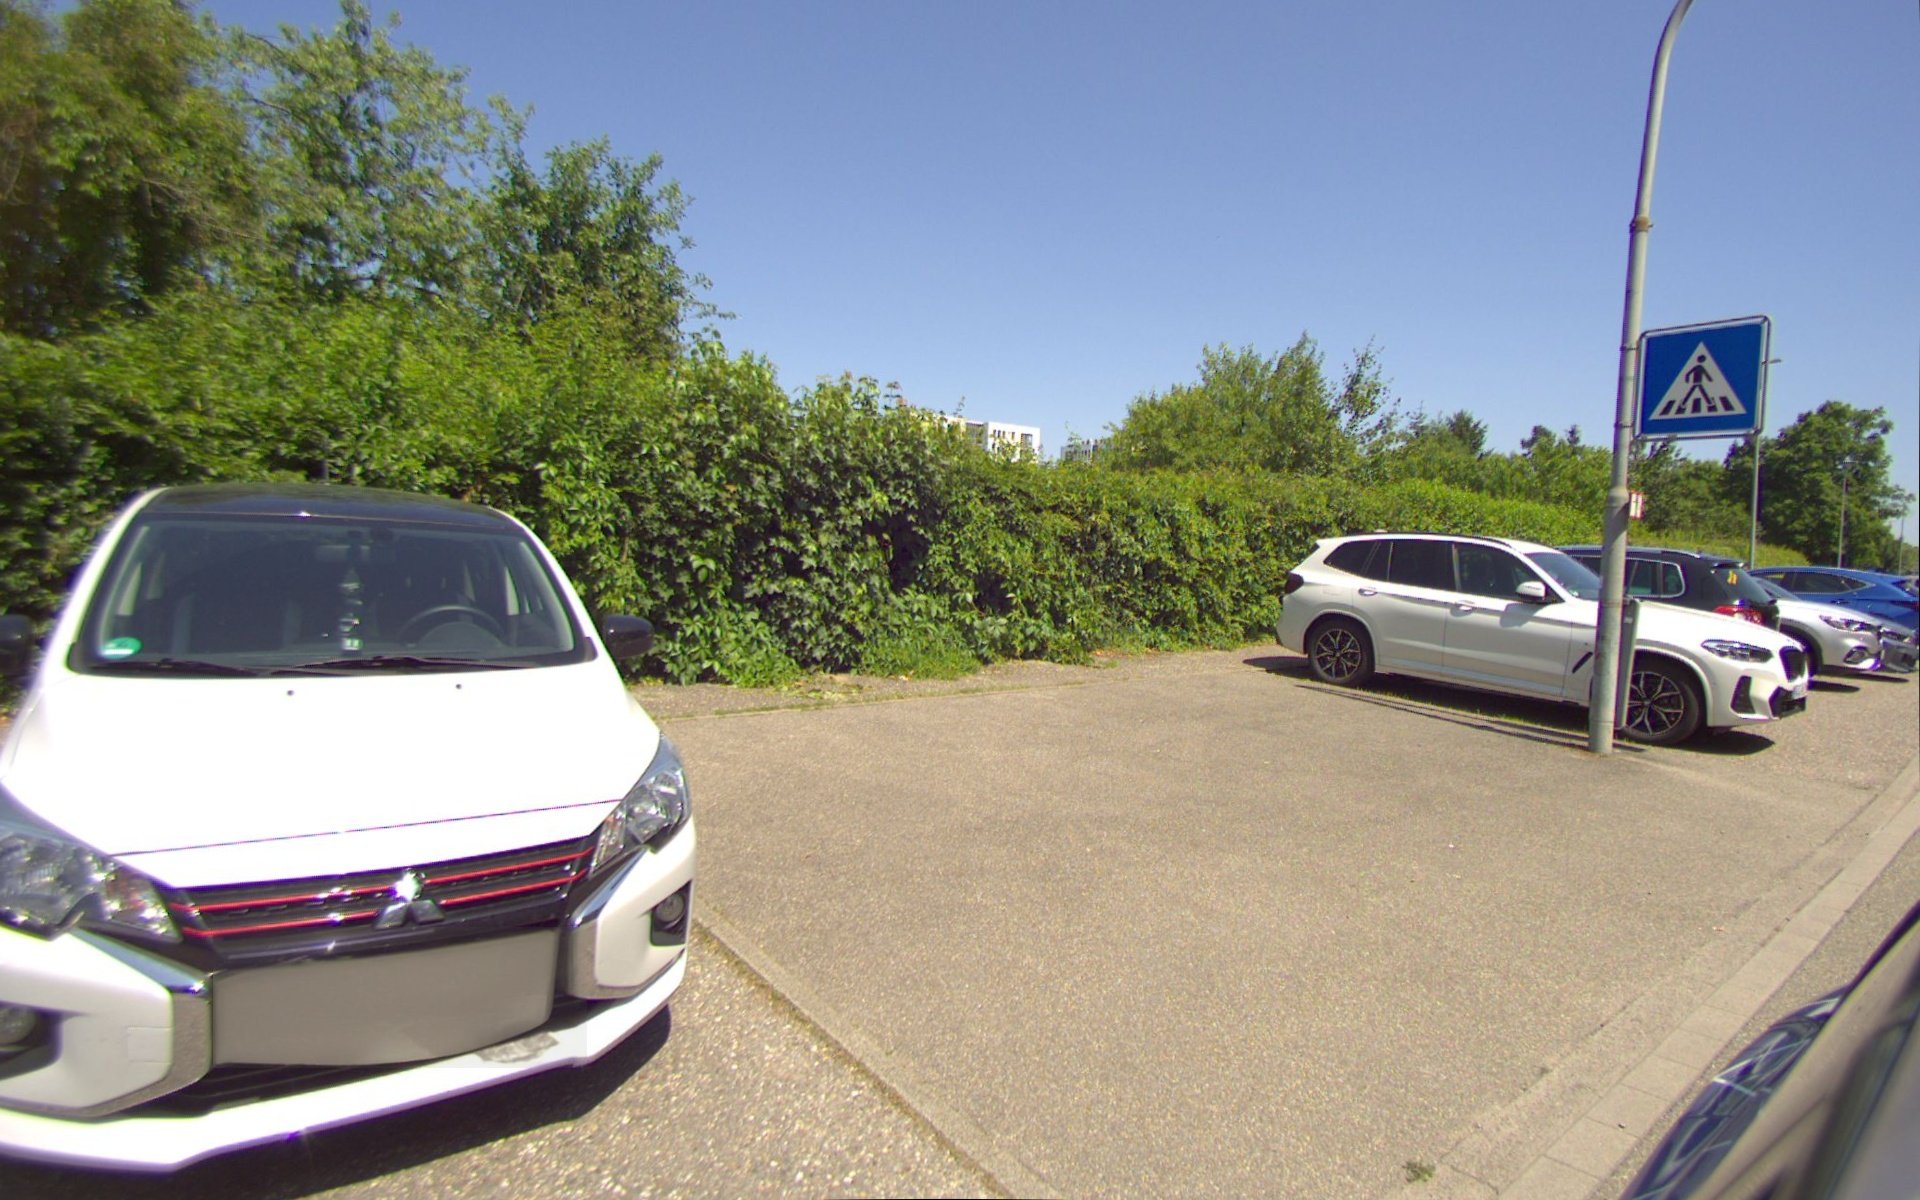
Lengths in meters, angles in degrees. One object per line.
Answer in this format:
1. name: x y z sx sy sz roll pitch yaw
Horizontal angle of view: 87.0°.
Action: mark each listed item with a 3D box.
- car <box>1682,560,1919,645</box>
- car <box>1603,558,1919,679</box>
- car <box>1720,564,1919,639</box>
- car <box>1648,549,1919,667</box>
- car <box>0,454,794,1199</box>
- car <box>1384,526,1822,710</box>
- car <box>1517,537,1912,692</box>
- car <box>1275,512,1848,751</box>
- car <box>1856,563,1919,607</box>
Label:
1. car: 18.887 -0.016 22.709 1.620 1.463 4.037 -1 6 -40
2. car: 12.836 0.186 16.095 1.651 1.425 4.036 -1 6 -41
3. car: 21.194 0.004 24.410 1.620 1.434 4.253 -1 6 -40
4. car: 14.942 0.058 18.035 1.644 1.660 4.037 -1 6 -40
5. car: -2.177 0.293 3.606 1.579 1.467 3.705 1 6 -36
6. car: 7.433 0.062 12.031 1.735 1.705 3.983 0 5 -40
7. car: 10.548 0.074 14.412 1.746 1.660 4.167 -1 6 -43
8. car: 5.643 0.081 10.060 1.818 1.750 4.466 -1 6 -39
9. car: 45.029 -0.617 47.290 1.668 1.872 4.486 -1 6 -45
